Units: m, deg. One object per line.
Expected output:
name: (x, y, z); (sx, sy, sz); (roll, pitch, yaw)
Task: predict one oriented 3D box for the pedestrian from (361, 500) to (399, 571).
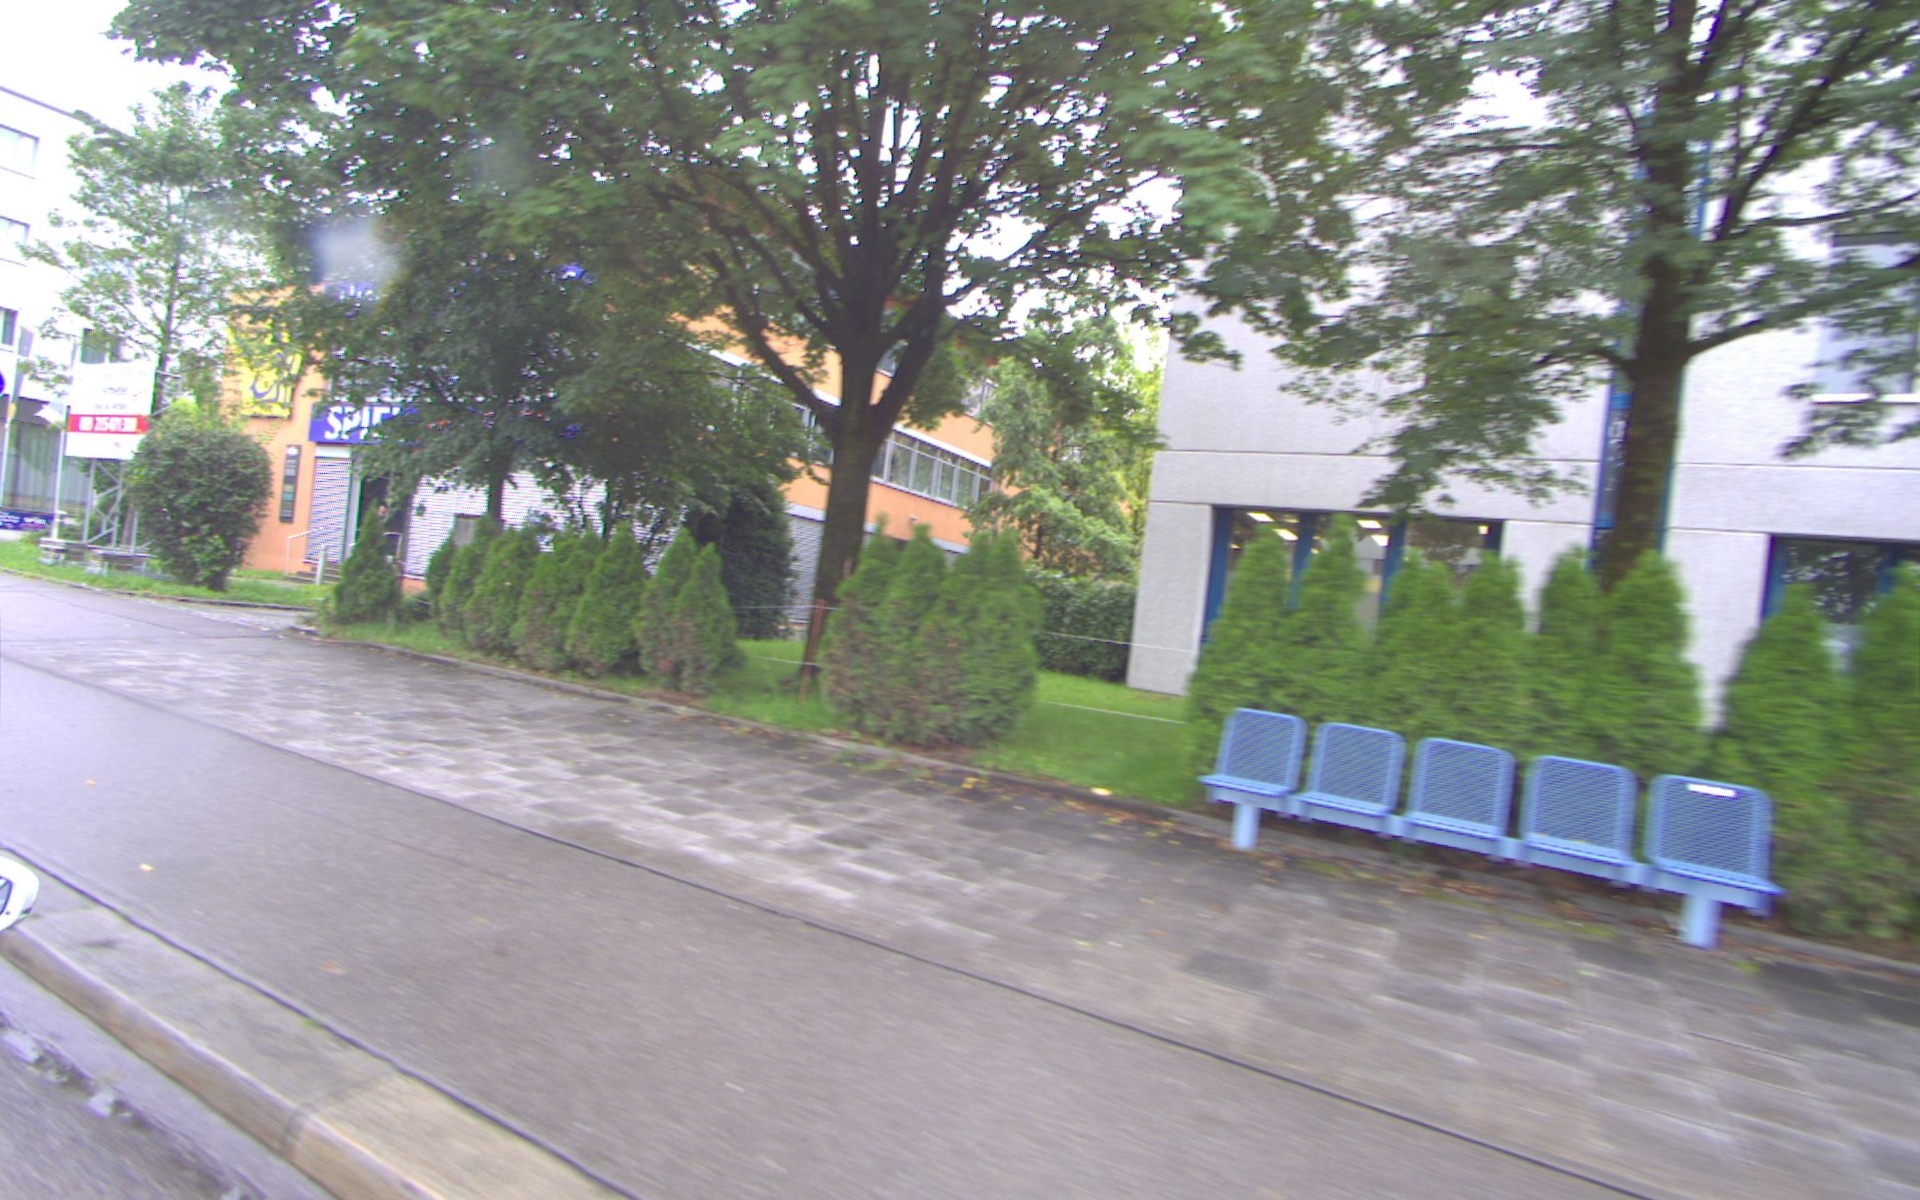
pedestrian: (-14.963, -1.655, 25.977); (0.651, 1.734, 0.658); (5, 2, -24)
